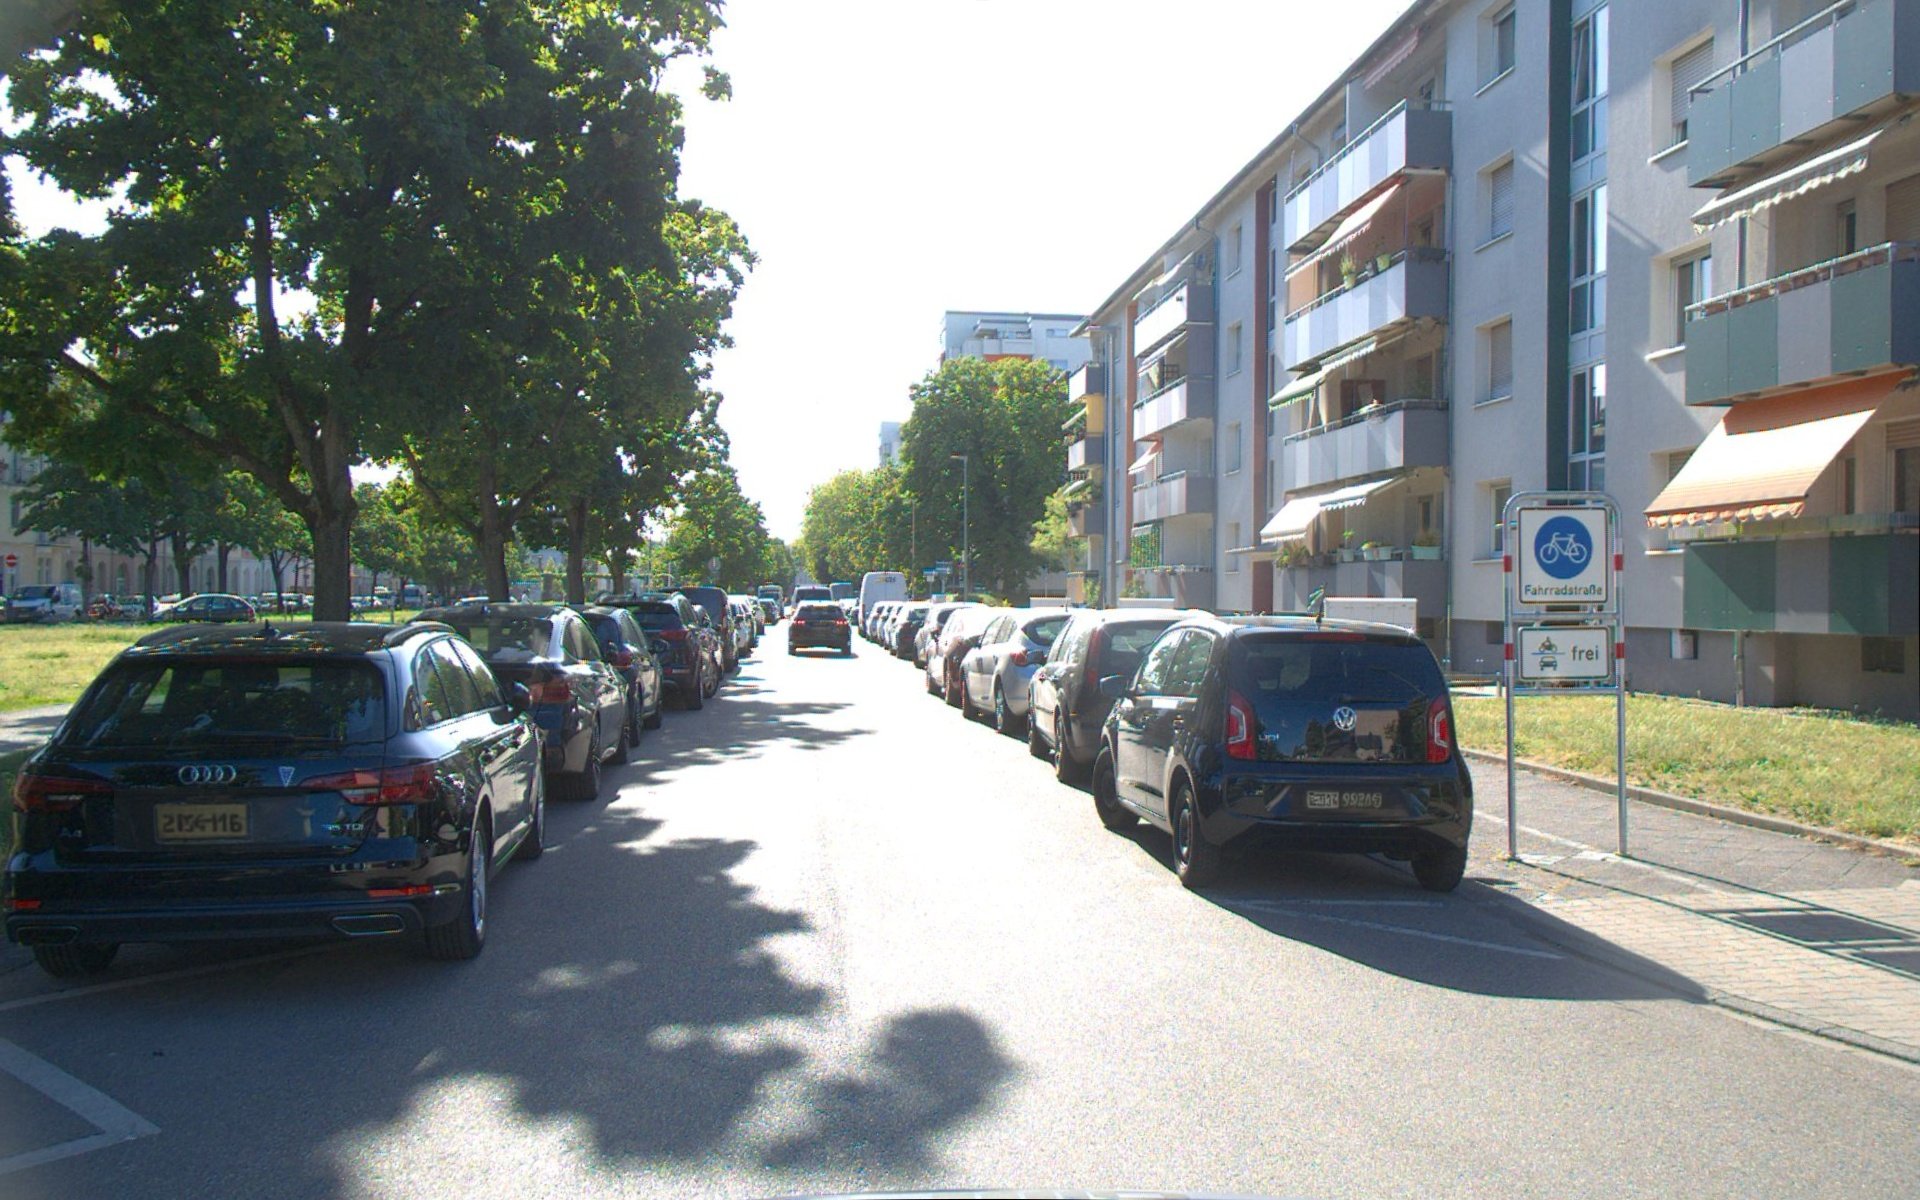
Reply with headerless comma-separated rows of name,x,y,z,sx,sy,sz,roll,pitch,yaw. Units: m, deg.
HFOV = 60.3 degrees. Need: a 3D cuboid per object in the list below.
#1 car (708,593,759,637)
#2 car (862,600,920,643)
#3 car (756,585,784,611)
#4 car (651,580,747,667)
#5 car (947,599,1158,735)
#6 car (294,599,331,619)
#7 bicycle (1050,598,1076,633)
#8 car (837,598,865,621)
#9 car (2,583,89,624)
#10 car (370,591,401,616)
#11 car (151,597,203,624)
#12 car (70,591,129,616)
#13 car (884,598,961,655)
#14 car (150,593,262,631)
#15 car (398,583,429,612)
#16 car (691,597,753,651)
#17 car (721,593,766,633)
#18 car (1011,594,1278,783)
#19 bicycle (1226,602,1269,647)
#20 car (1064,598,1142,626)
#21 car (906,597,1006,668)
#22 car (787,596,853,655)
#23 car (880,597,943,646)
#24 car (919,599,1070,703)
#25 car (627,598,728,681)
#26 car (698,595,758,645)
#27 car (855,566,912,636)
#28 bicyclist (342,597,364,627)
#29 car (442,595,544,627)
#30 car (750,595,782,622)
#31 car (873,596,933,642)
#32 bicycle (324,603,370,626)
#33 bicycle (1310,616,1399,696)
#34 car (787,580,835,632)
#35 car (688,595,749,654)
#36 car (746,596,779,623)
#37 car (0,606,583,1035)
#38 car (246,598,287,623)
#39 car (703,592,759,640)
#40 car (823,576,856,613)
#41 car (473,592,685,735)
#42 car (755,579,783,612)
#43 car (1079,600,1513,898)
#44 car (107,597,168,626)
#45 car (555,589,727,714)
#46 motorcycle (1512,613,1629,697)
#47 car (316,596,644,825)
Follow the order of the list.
car,-9.073,0.571,66.483,1.807,1.667,4.709,-1,0,-6
car,-2.603,0.785,61.664,1.814,1.491,4.195,1,0,-7
car,-14.398,-0.157,125.469,2.058,1.976,4.122,0,0,-6
car,-5.796,0.509,37.154,1.828,1.816,4.985,0,-1,-6
car,1.071,0.775,21.484,1.839,1.560,4.484,0,0,-9
car,-49.498,0.698,126.486,1.661,1.454,3.770,0,0,-5
bicycle,3.702,0.563,59.285,0.584,1.197,2.011,0,-2,-7
car,-6.945,0.581,105.136,1.744,1.395,4.122,0,0,-5
car,-45.038,0.162,81.603,2.042,1.905,5.089,0,0,-8
car,-51.869,0.322,149.358,1.662,2.252,4.999,0,0,-8
car,-46.498,0.604,98.271,1.662,1.553,4.073,0,0,-8
car,-45.244,0.190,86.984,1.662,1.301,3.519,0,0,-8
car,-1.099,0.704,46.262,1.667,1.460,4.464,-1,0,-7
car,-32.629,0.502,71.573,4.289,1.604,1.909,0,0,-31
car,-53.400,-0.281,161.705,1.880,2.792,5.614,0,0,-8
car,-7.198,0.684,50.323,1.722,1.518,4.661,-1,0,-7
car,-9.512,0.537,72.985,1.722,1.676,4.283,-1,0,-5
car,1.600,0.724,15.956,1.735,1.556,4.553,0,0,-5
bicycle,7.278,0.601,41.952,0.513,1.089,2.007,-2,0,-7
car,7.518,0.611,86.884,3.815,1.454,1.655,0,0,-10
car,-0.136,0.691,37.745,1.715,1.525,3.853,0,0,-9
car,-3.961,0.682,46.932,1.744,1.558,3.996,1,0,-5
car,-1.541,0.647,51.670,1.688,1.460,4.148,0,0,-6
car,0.452,0.749,26.829,1.808,1.498,5.058,0,0,-6
car,-5.248,0.690,31.106,1.508,1.453,4.083,0,0,-5
car,-7.734,0.650,55.458,1.838,1.546,4.463,-2,0,-7
car,-3.276,0.019,69.598,2.100,2.760,6.835,-1,0,-4
bicyclist,-28.525,0.558,77.758,0.866,1.387,0.617,0,0,-31
car,-21.916,0.510,77.646,4.289,1.433,1.901,0,2,-31
car,-11.660,0.516,99.449,1.742,1.521,3.871,-2,0,-5
car,-1.992,0.620,57.022,1.841,1.501,4.135,0,0,-5
bicycle,-28.789,0.672,77.651,1.955,1.034,0.652,0,0,-31
bicycle,5.673,0.786,23.868,0.705,1.096,1.895,0,0,-4
car,-6.103,0.226,67.928,1.857,2.026,4.006,-1,0,-5
car,-6.679,0.655,45.914,1.556,1.518,3.679,-1,0,-7
car,-11.326,0.539,94.943,1.714,1.449,3.912,-2,0,-5
car,-3.053,0.783,8.350,1.801,1.477,4.959,0,0,-8
car,-48.291,0.714,115.232,1.601,1.716,4.073,0,0,-8
car,-8.322,0.569,60.448,1.784,1.638,4.733,-1,0,-6
car,-9.238,-0.434,126.534,2.123,2.736,5.405,0,0,-9
car,-4.236,0.674,18.941,1.843,1.444,3.799,-1,-1,-5
car,-15.187,-0.364,131.825,2.057,2.540,4.123,0,0,-5
car,1.897,0.783,10.489,1.626,1.499,3.788,2,0,-6
car,-45.822,0.621,92.251,1.662,1.589,4.689,0,0,-8
car,-4.668,0.697,24.872,1.986,1.654,4.752,-1,0,-5
motorcycle,8.964,0.778,24.365,0.573,1.171,2.029,0,0,-15
car,-3.829,0.754,14.111,1.956,1.543,5.148,-1,0,-8
